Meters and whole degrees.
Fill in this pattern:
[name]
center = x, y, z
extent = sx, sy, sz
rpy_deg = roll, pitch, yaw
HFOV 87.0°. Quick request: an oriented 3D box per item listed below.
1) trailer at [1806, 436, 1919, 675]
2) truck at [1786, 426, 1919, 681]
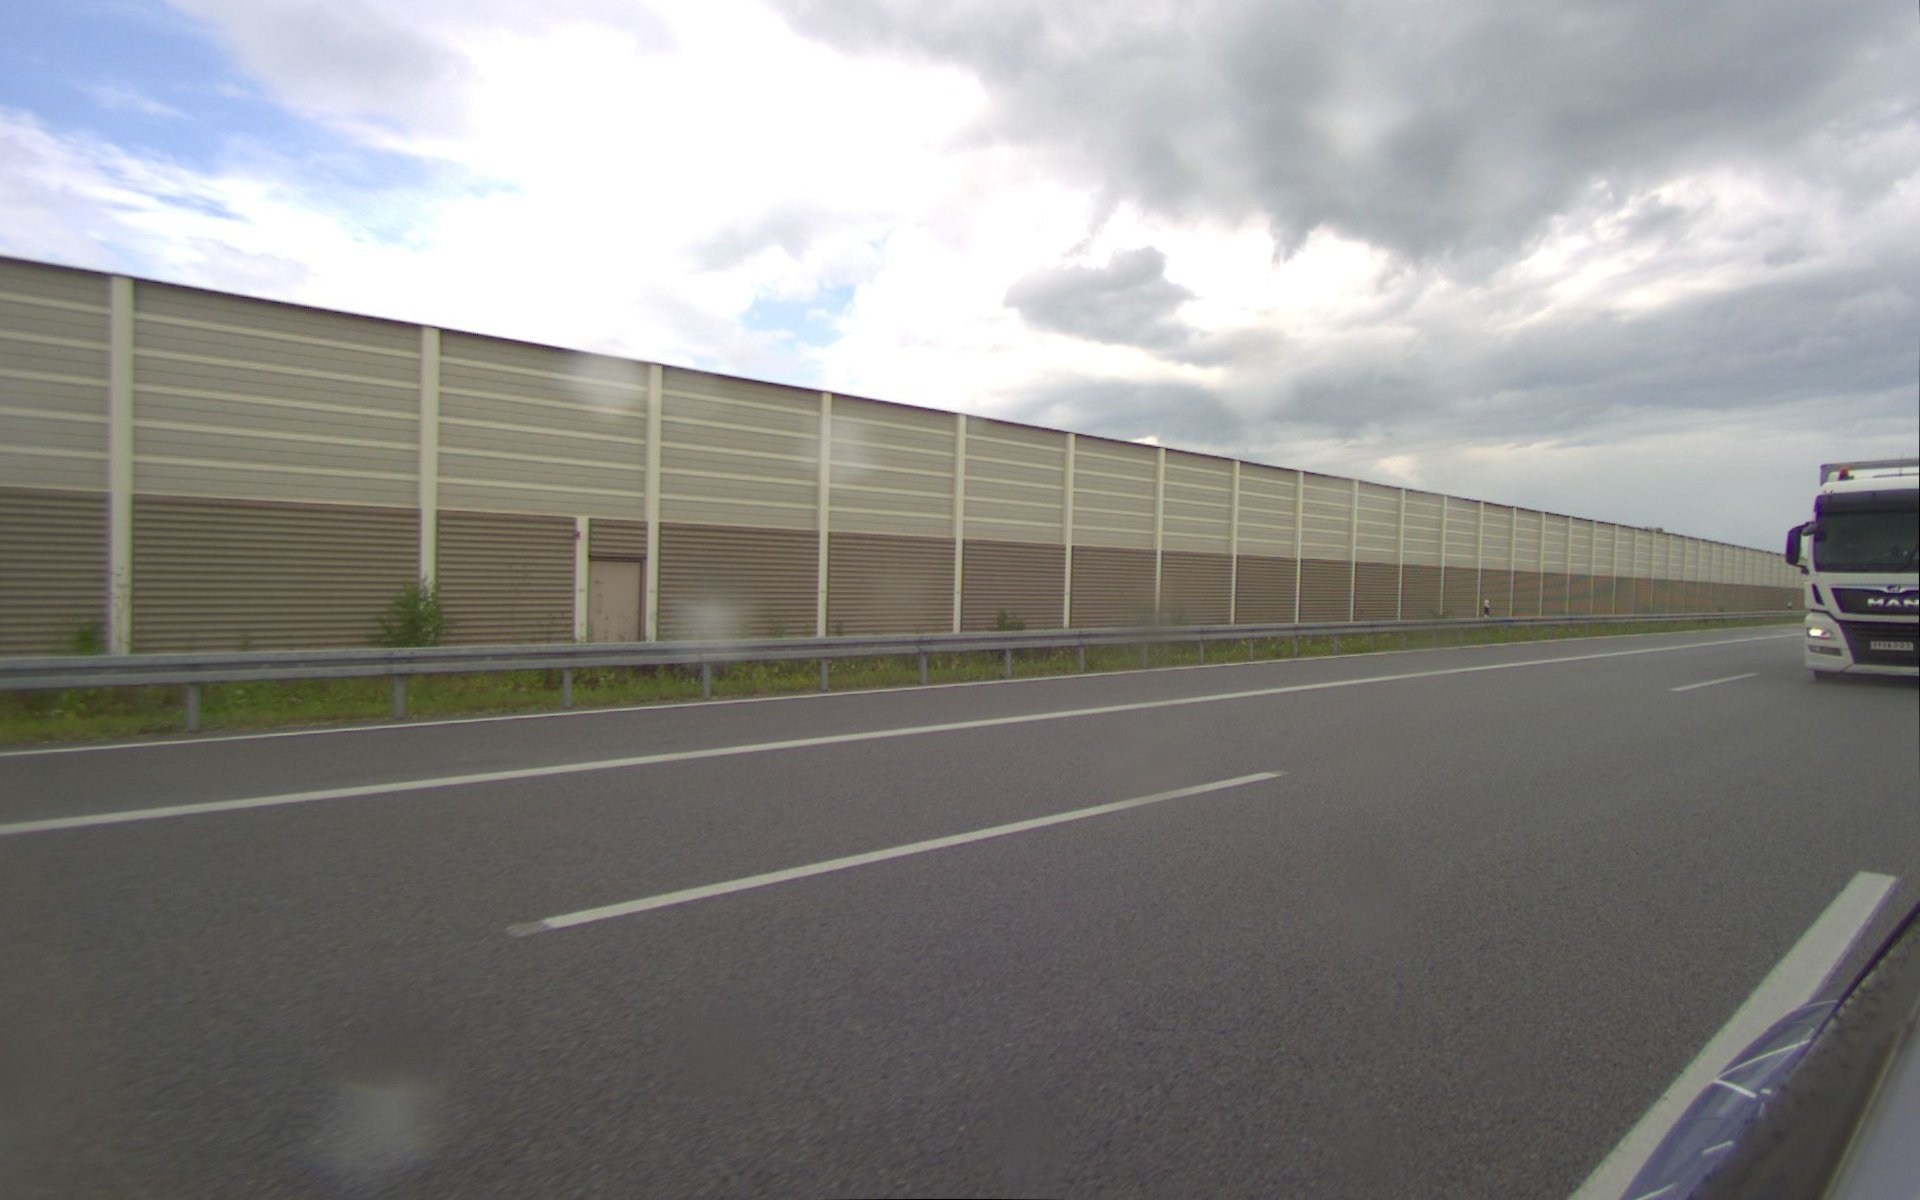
[trailer]
center = 21.956, -0.839, 22.401
extent = 12.966, 4.266, 2.923
rpy_deg = -1, 0, -41
[truck]
center = 17.612, -0.786, 18.616
extent = 5.102, 4.223, 2.911
rpy_deg = 0, 0, -41
